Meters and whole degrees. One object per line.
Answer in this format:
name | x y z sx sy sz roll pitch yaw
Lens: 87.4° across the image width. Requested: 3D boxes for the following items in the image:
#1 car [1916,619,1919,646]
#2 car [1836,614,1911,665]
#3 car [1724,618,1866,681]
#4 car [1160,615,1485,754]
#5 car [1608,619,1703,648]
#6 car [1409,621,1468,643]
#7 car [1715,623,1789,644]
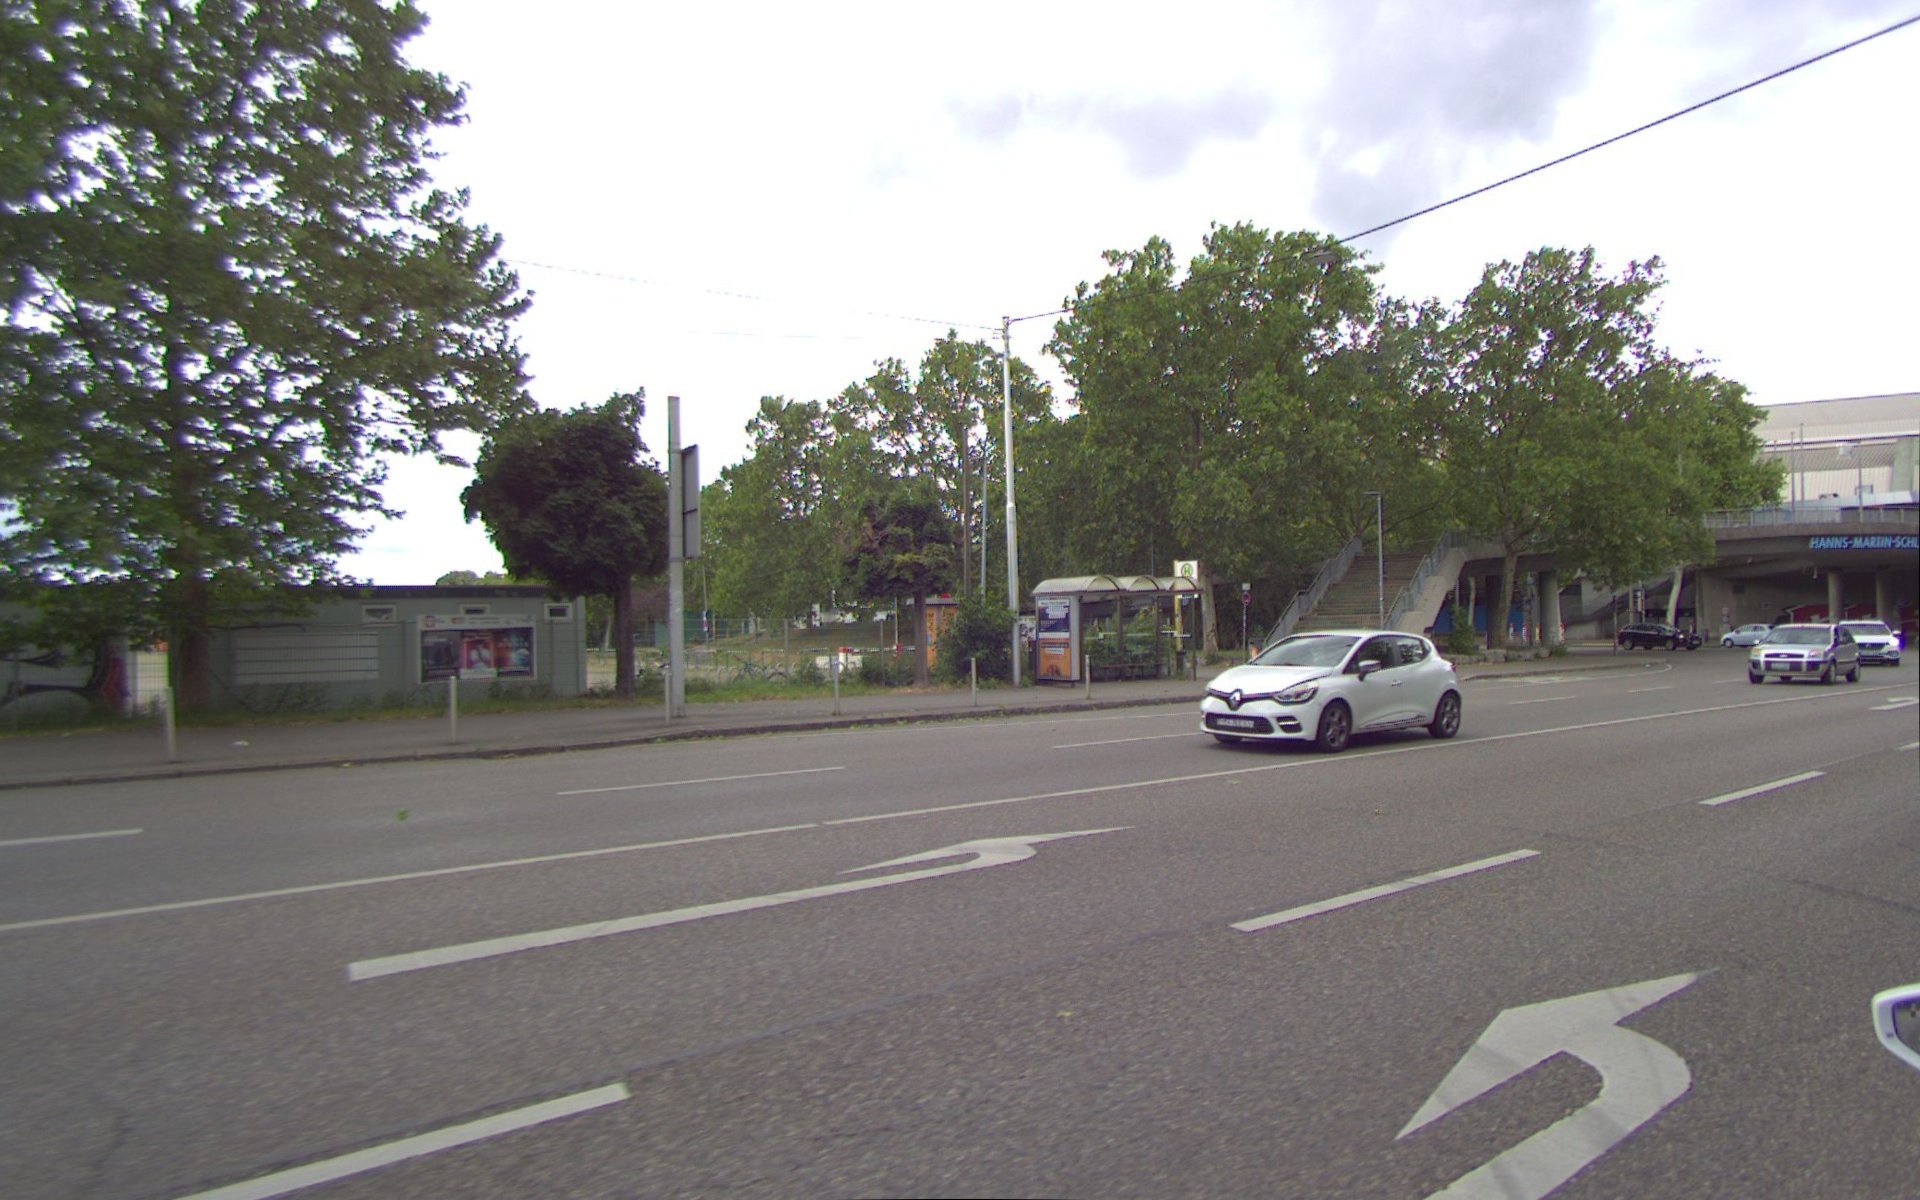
car | 51.627 1.708 51.370 1.959 1.437 4.003 0 -1 8
car | 34.128 1.433 37.588 1.971 1.767 4.570 -1 -1 42
car | 22.159 1.285 26.630 3.962 1.545 1.980 1 -3 -36
car | 4.877 1.006 13.288 4.344 1.550 1.980 1 -3 -37
car | 41.079 1.965 59.422 1.750 1.627 4.403 1 -1 -23
car | 38.865 2.587 81.627 1.984 1.682 3.952 1 -1 -41
car | 50.415 2.124 64.005 1.591 1.330 3.381 0 -1 -19
